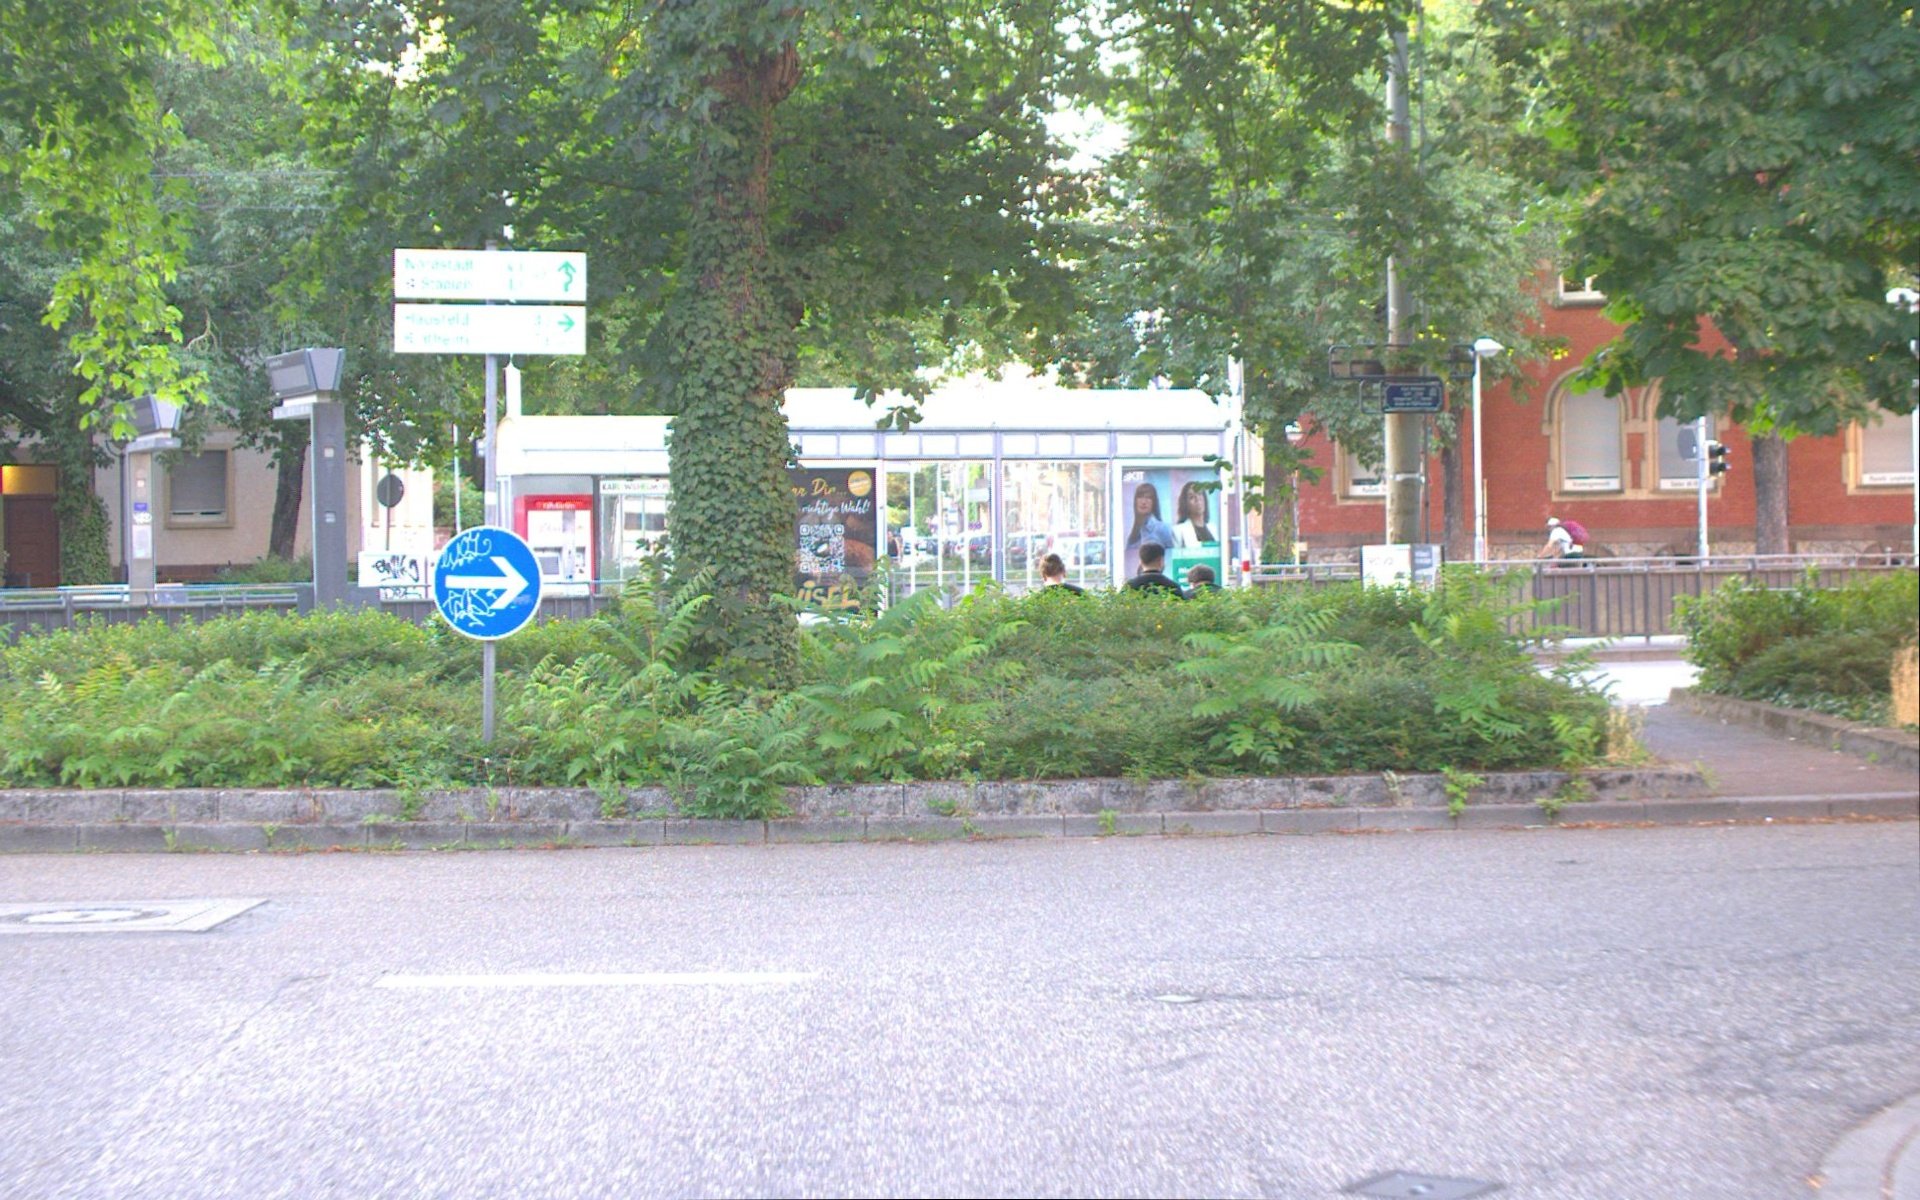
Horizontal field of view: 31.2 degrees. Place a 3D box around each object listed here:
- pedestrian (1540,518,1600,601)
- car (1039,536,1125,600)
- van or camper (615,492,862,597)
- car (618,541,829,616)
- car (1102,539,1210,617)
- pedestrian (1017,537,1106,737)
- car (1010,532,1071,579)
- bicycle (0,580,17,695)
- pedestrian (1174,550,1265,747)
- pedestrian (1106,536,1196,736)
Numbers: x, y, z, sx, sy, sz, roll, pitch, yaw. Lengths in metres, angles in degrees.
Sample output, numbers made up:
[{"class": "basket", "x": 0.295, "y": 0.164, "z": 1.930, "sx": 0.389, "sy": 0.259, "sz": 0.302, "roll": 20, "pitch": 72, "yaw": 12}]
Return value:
[{"class": "pedestrian", "x": 11.327, "y": -0.747, "z": 63.810, "sx": 0.866, "sy": 1.521, "sz": 0.714, "roll": 0, "pitch": 1, "yaw": 37}, {"class": "car", "x": 3.335, "y": -0.900, "z": 94.722, "sx": 1.993, "sy": 1.698, "sz": 4.720, "roll": 1, "pitch": 1, "yaw": -2}, {"class": "van or camper", "x": -6.787, "y": -1.693, "z": 104.955, "sx": 7.364, "sy": 3.072, "sz": 2.674, "roll": 1, "pitch": 1, "yaw": -5}, {"class": "car", "x": -5.674, "y": -0.518, "z": 82.241, "sx": 4.949, "sy": 1.698, "sz": 2.000, "roll": 1, "pitch": 1, "yaw": -5}, {"class": "car", "x": 4.432, "y": -0.520, "z": 78.409, "sx": 1.993, "sy": 1.698, "sz": 4.720, "roll": 1, "pitch": 1, "yaw": -2}, {"class": "pedestrian", "x": 0.736, "y": 0.257, "z": 24.964, "sx": 0.616, "sy": 1.426, "sz": 0.655, "roll": 0, "pitch": 1, "yaw": 0}, {"class": "car", "x": 3.032, "y": -1.696, "z": 130.323, "sx": 1.993, "sy": 1.698, "sz": 4.720, "roll": 1, "pitch": 1, "yaw": -2}, {"class": "bicycle", "x": -9.644, "y": 0.356, "z": 31.546, "sx": 1.849, "sy": 1.048, "sz": 0.546, "roll": -1, "pitch": 1, "yaw": -23}, {"class": "pedestrian", "x": 1.915, "y": 0.352, "z": 25.427, "sx": 0.616, "sy": 1.426, "sz": 0.655, "roll": 0, "pitch": 1, "yaw": 0}, {"class": "pedestrian", "x": 1.389, "y": 0.255, "z": 25.064, "sx": 0.616, "sy": 1.426, "sz": 0.655, "roll": 0, "pitch": 1, "yaw": 0}]
